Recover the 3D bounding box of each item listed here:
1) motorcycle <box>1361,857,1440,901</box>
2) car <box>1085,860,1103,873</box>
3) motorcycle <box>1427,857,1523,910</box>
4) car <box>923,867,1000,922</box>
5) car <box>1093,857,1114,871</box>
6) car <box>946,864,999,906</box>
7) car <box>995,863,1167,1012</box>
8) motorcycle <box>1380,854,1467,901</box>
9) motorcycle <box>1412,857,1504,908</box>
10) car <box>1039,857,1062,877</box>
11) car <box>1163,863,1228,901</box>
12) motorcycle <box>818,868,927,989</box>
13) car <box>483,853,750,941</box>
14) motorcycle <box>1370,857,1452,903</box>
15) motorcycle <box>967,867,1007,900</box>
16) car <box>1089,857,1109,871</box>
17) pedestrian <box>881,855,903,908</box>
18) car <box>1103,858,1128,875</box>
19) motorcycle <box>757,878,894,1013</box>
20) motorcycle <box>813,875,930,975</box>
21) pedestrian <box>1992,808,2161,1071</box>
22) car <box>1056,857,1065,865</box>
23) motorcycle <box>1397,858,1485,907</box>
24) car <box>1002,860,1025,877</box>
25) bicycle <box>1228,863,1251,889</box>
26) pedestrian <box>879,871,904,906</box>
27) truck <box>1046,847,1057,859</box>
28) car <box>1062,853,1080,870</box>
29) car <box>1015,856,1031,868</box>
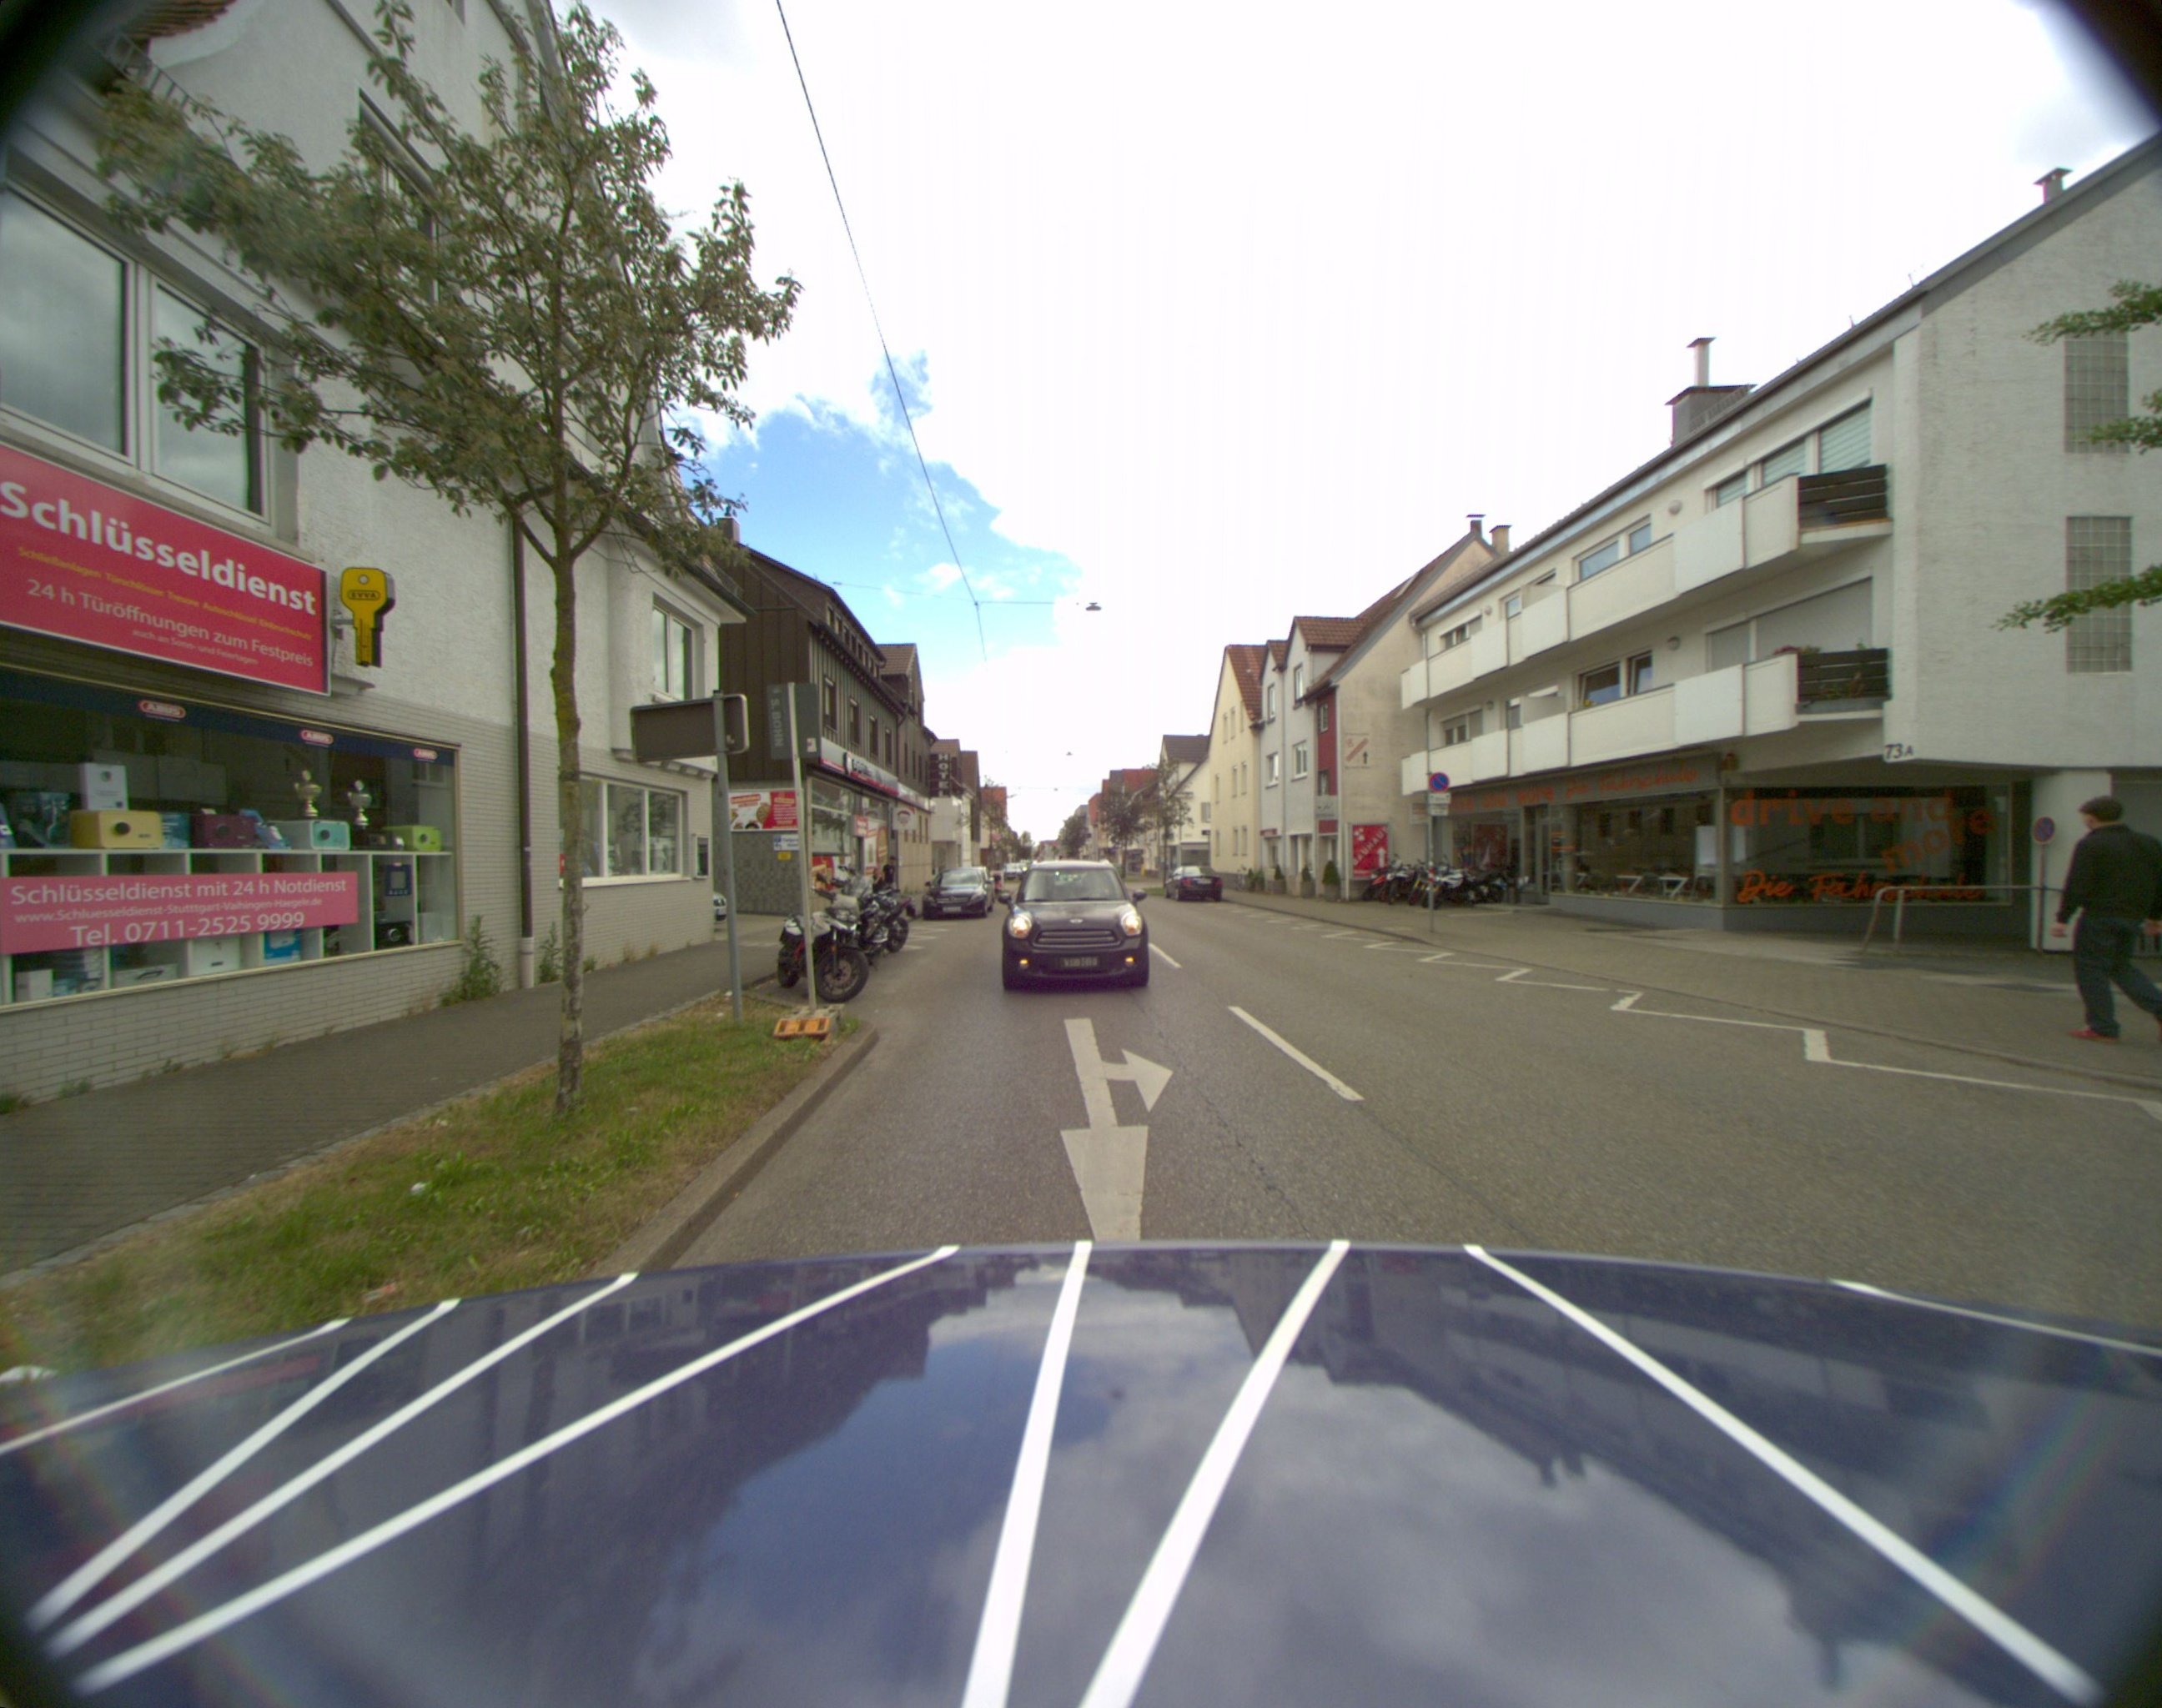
[{"bbox_3d":[10.160,0.797,24.221,2.231,1.258,0.613,-3,1,-4],"label":"motorcycle"},{"bbox_3d":[1.499,1.416,87.842,1.716,1.389,3.899,-2,0,-4],"label":"car"},{"bbox_3d":[10.480,0.783,20.246,2.231,1.258,0.613,-3,1,-4],"label":"motorcycle"},{"bbox_3d":[-3.533,1.148,23.137,1.830,1.400,4.563,-2,0,-3],"label":"car"},{"bbox_3d":[2.230,0.997,77.102,1.716,1.389,3.899,-2,0,-4],"label":"car"},{"bbox_3d":[-4.104,1.130,29.203,1.645,1.433,3.901,-2,0,-3],"label":"car"},{"bbox_3d":[-0.160,0.939,10.722,1.855,1.527,4.734,-1,0,-4],"label":"car"},{"bbox_3d":[10.245,0.681,22.759,2.231,1.258,0.699,-3,1,-4],"label":"motorcycle"},{"bbox_3d":[10.440,0.783,21.091,2.231,1.258,0.613,-3,1,-4],"label":"motorcycle"},{"bbox_3d":[-2.631,1.130,66.299,1.855,1.615,4.735,-1,0,-2],"label":"car"},{"bbox_3d":[4.624,1.090,31.259,1.793,1.409,4.340,0,0,-3],"label":"car"},{"bbox_3d":[-3.013,1.009,11.310,0.672,1.516,2.598,-1,0,4],"label":"motorcycle"},{"bbox_3d":[-9.265,0.822,15.442,4.210,1.579,1.854,2,0,-3],"label":"car"},{"bbox_3d":[10.216,0.799,23.551,2.231,1.258,0.613,-3,1,-4],"label":"motorcycle"},{"bbox_3d":[-3.930,1.225,31.801,1.589,1.284,0.500,-2,1,-32],"label":"motorcycle"},{"bbox_3d":[1.899,1.079,82.207,1.716,1.389,3.899,-2,0,-4],"label":"car"},{"bbox_3d":[-6.266,0.908,25.212,0.644,1.730,0.742,0,0,-8],"label":"pedestrian"},{"bbox_3d":[2.992,1.101,66.371,1.716,1.389,3.899,-2,0,-4],"label":"car"},{"bbox_3d":[-3.119,1.000,9.105,0.777,1.373,2.237,-2,0,-39],"label":"motorcycle"},{"bbox_3d":[-3.438,1.122,12.771,0.648,1.432,2.472,-1,0,17],"label":"motorcycle"},{"bbox_3d":[7.957,0.595,5.769,0.753,1.838,1.019,-4,1,-2],"label":"pedestrian"},{"bbox_3d":[-4.134,1.359,154.038,1.780,1.446,3.999,-2,0,-2],"label":"car"},{"bbox_3d":[10.371,0.800,21.907,2.231,1.258,0.613,-3,1,-4],"label":"motorcycle"},{"bbox_3d":[-5.745,1.245,65.044,1.795,1.356,3.948,1,0,-2],"label":"car"},{"bbox_3d":[7.446,1.016,35.703,0.515,1.189,2.023,-2,0,-3],"label":"bicycle"},{"bbox_3d":[-6.615,1.207,26.564,0.742,1.204,0.643,0,0,-3],"label":"pedestrian"},{"bbox_3d":[-7.558,-0.284,195.508,2.800,3.020,8.249,-2,0,-2],"label":"truck"},{"bbox_3d":[-1.175,0.900,90.520,1.856,1.931,4.489,1,0,-4],"label":"car"},{"bbox_3d":[-7.242,0.955,94.997,1.795,1.396,3.948,1,0,-2],"label":"car"}]
